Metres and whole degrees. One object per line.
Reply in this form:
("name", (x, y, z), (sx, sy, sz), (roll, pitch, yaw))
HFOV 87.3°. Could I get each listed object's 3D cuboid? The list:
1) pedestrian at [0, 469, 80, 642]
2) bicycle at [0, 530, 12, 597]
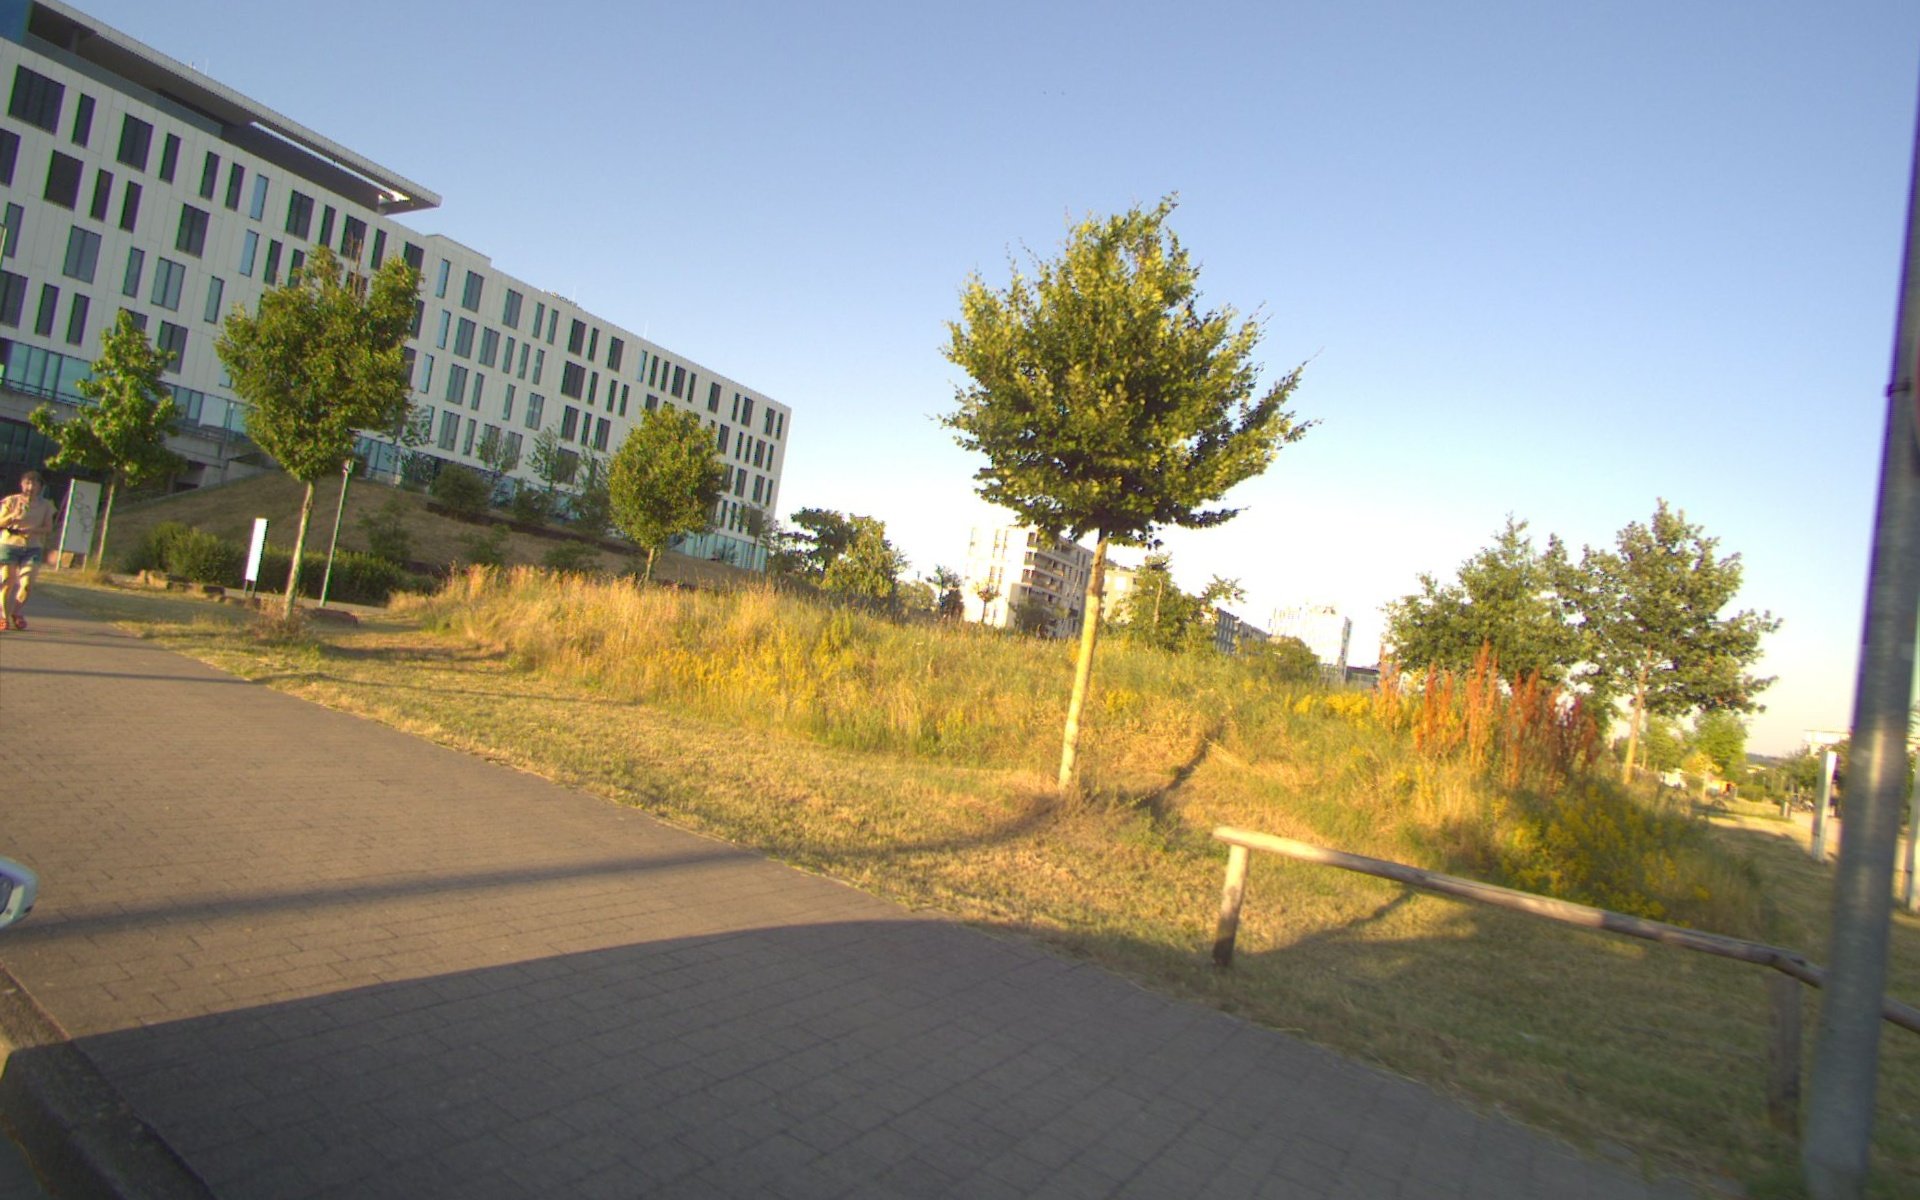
("pedestrian", (-10.595, -0.510, 11.380), (0.806, 1.821, 0.595), (8, -2, 39))
("bicycle", (-10.920, -0.241, 10.948), (1.911, 1.181, 0.450), (8, -2, 38))
